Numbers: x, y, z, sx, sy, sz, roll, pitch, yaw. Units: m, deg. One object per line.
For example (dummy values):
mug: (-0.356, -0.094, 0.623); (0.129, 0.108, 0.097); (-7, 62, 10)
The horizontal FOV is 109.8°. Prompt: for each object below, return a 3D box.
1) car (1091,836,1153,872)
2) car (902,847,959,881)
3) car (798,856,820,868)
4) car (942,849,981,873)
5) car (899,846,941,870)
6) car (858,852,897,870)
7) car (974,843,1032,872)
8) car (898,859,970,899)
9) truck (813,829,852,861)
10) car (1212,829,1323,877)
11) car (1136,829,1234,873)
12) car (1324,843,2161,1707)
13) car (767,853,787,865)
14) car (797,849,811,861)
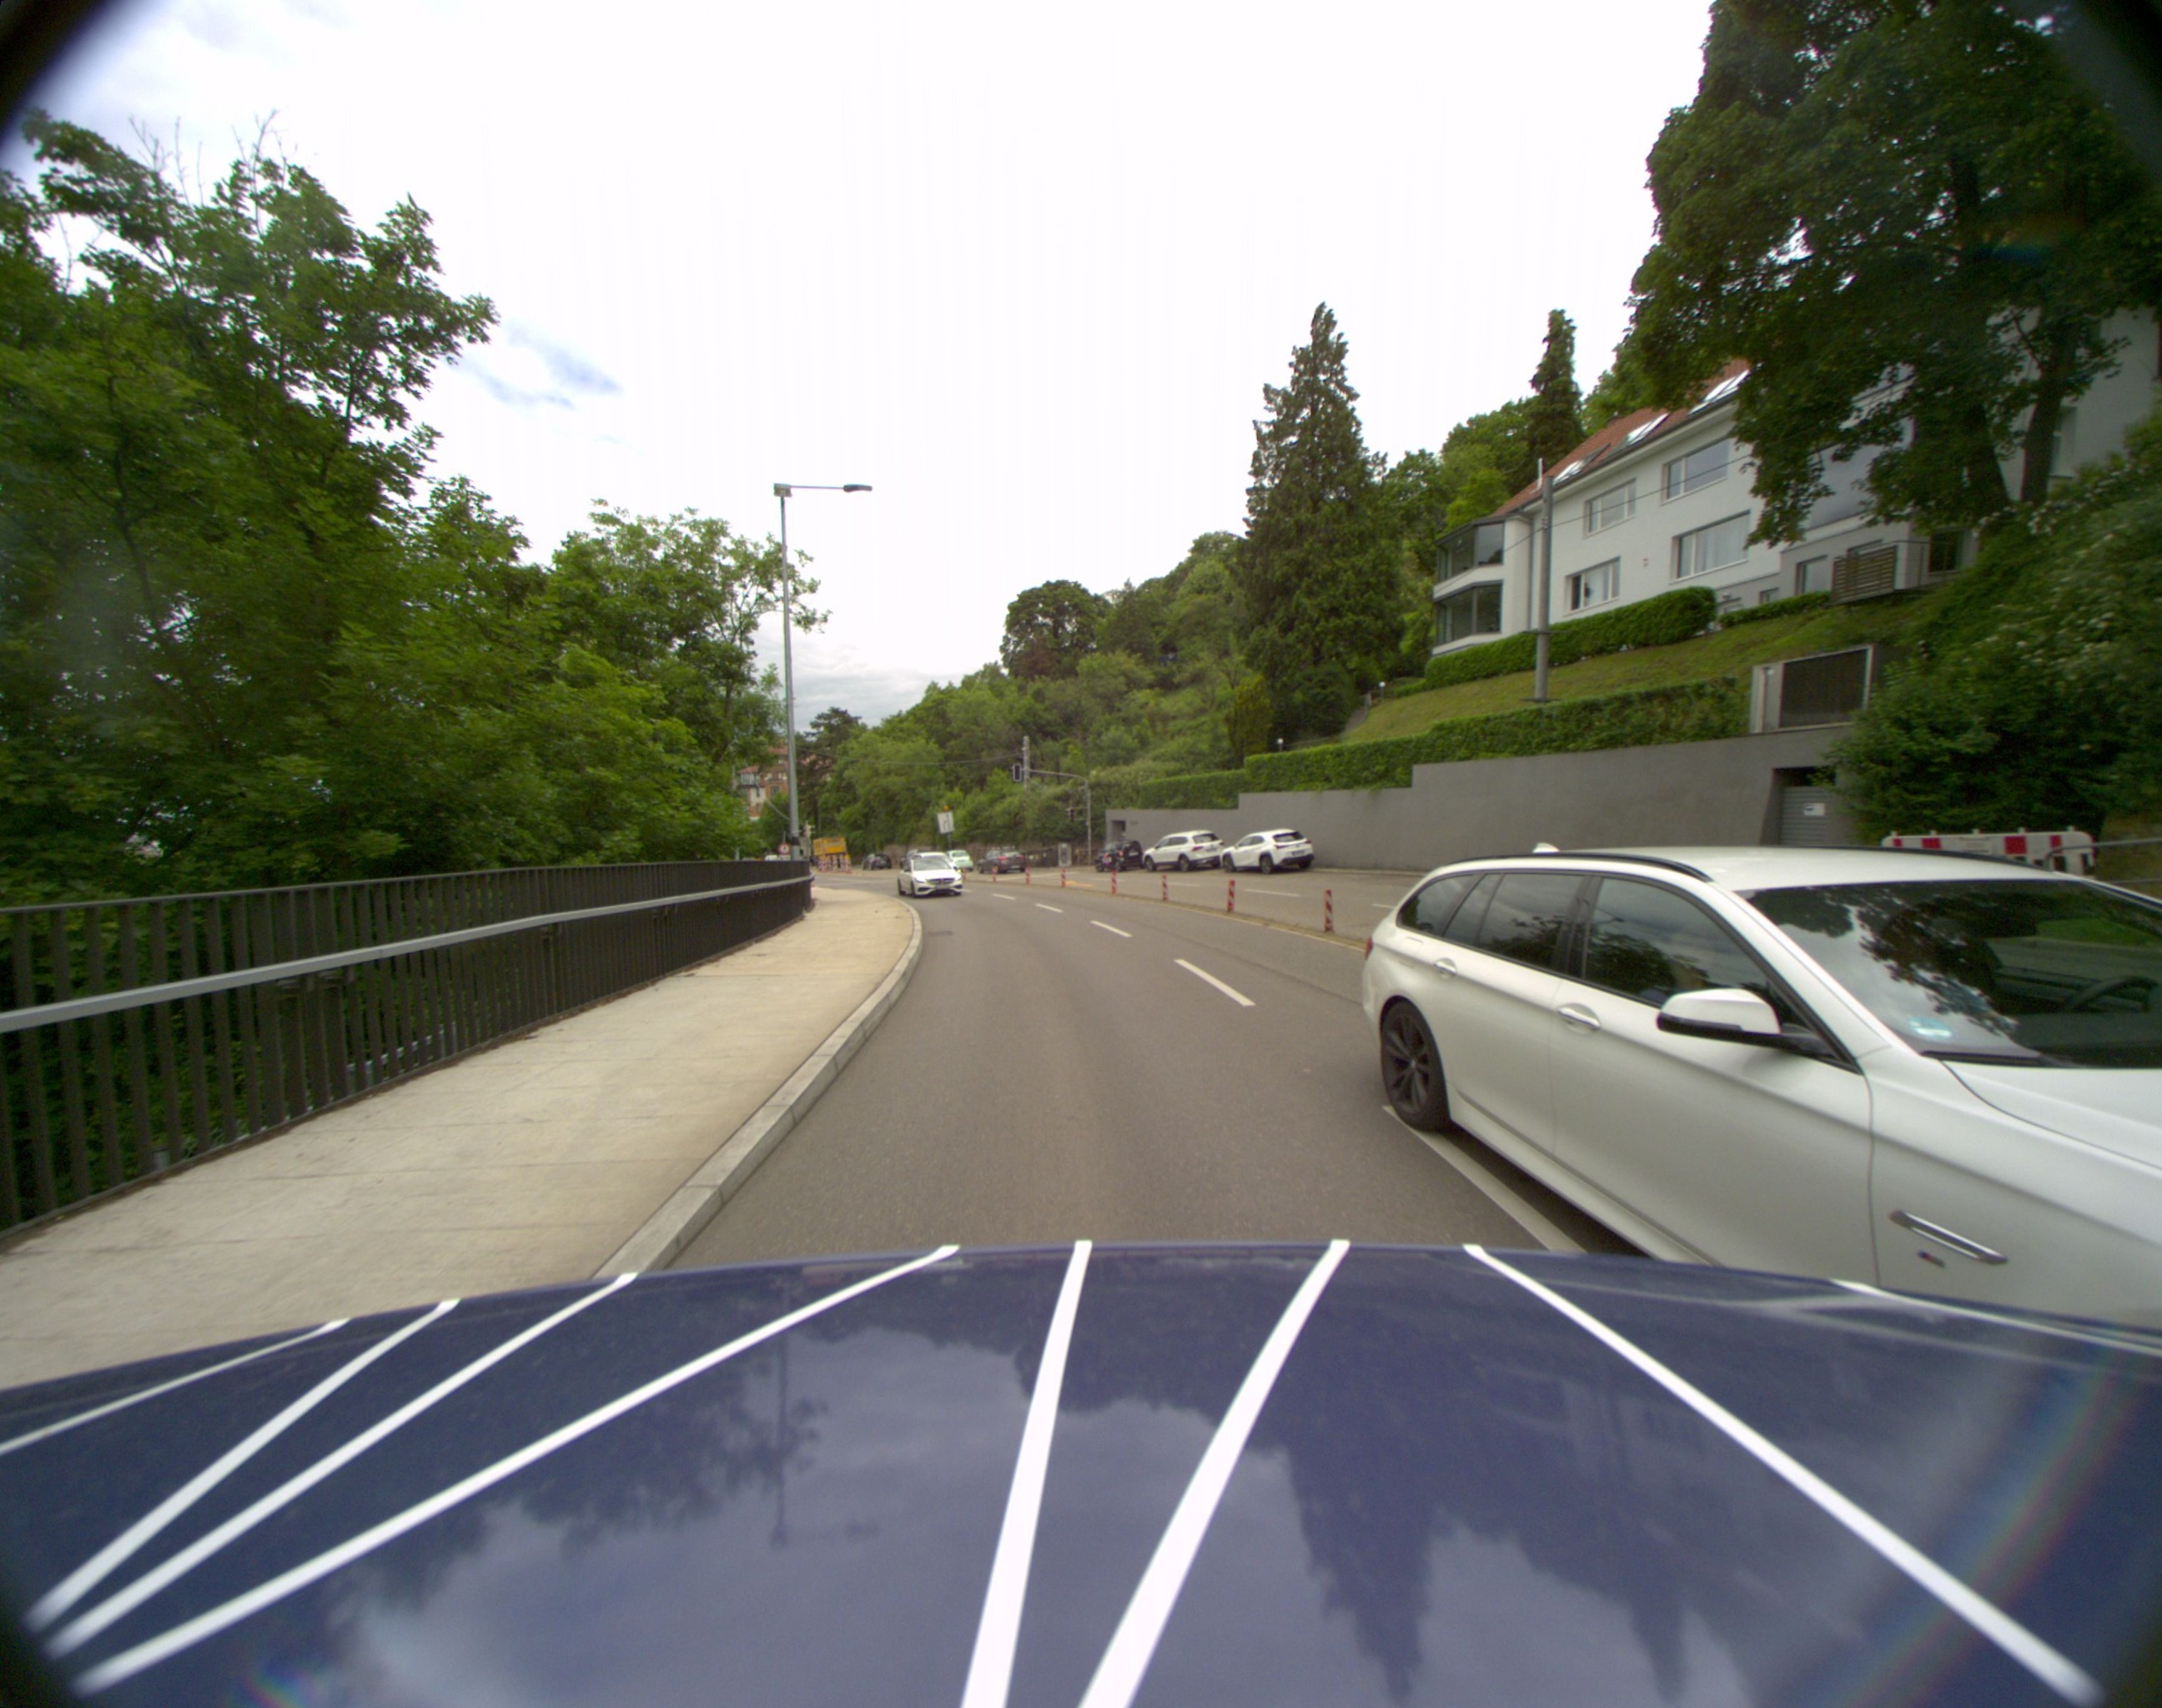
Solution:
car: (2.048, 0.026, 38.652); (1.718, 1.564, 2.951); (-8, 2, -29)
car: (-7.953, 0.488, 39.839); (1.889, 1.570, 3.991); (-5, 3, -25)
car: (-36.402, 1.081, 101.664); (1.778, 1.434, 4.734); (-5, 3, -30)
car: (-8.228, 0.466, 51.983); (1.718, 1.458, 3.653); (-5, 2, -23)
car: (-12.668, 0.290, 59.631); (1.892, 1.687, 4.661); (-4, 2, -28)
car: (-18.867, 0.671, 70.364); (1.818, 1.422, 4.862); (-5, 2, -36)
car: (-4.731, 0.185, 45.609); (1.719, 1.589, 4.196); (-4, 2, -31)
car: (-5.693, 0.892, 28.989); (1.801, 1.299, 4.092); (-4, 1, -23)
truck: (-28.795, -1.029, 87.877); (2.743, 3.490, 7.332); (-4, 2, -29)
car: (7.007, -0.060, 29.061); (1.840, 1.564, 4.466); (-5, 2, -20)
car: (4.575, -0.121, 34.330); (1.867, 1.722, 4.750); (-6, 3, -27)
car: (2.622, 0.807, 2.506); (1.853, 1.459, 4.875); (-4, 2, -2)
car: (-49.156, 0.855, 122.795); (1.811, 1.781, 4.331); (-6, 3, -35)
car: (-47.785, 0.148, 131.198); (1.575, 1.597, 3.577); (-6, 7, -30)
